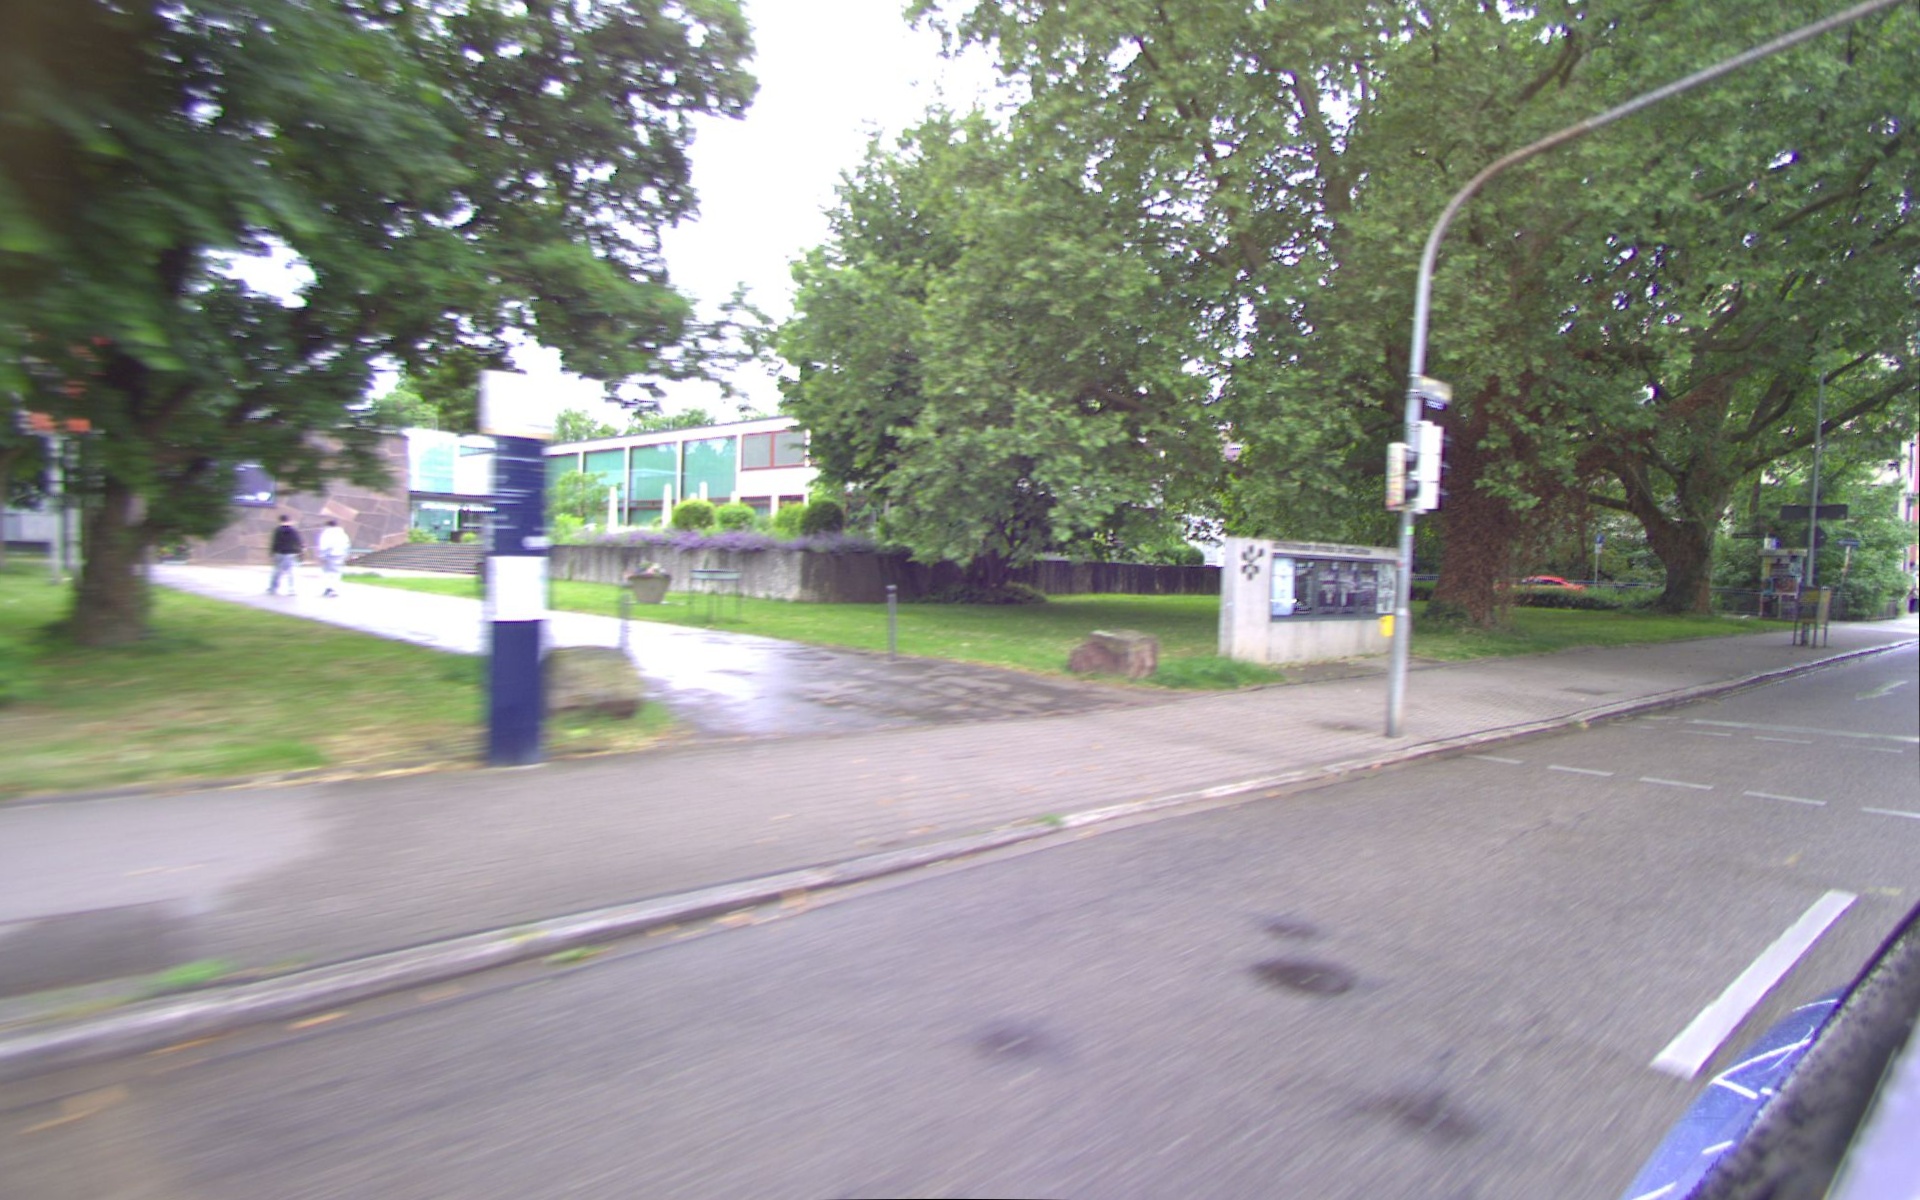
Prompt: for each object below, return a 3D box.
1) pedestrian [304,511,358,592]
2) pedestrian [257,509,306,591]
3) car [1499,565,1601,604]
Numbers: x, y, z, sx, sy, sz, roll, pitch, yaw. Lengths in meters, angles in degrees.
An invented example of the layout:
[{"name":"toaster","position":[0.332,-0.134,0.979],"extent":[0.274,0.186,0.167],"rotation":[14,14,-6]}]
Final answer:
[{"name":"pedestrian","position":[-14.289,-1.087,22.997],"extent":[0.838,1.785,0.865],"rotation":[0,0,44]},{"name":"pedestrian","position":[-15.105,-1.091,22.538],"extent":[0.838,1.785,0.760],"rotation":[0,0,44]},{"name":"car","position":[29.538,-0.794,50.740],"extent":[1.966,1.737,3.993],"rotation":[0,3,-43]}]
